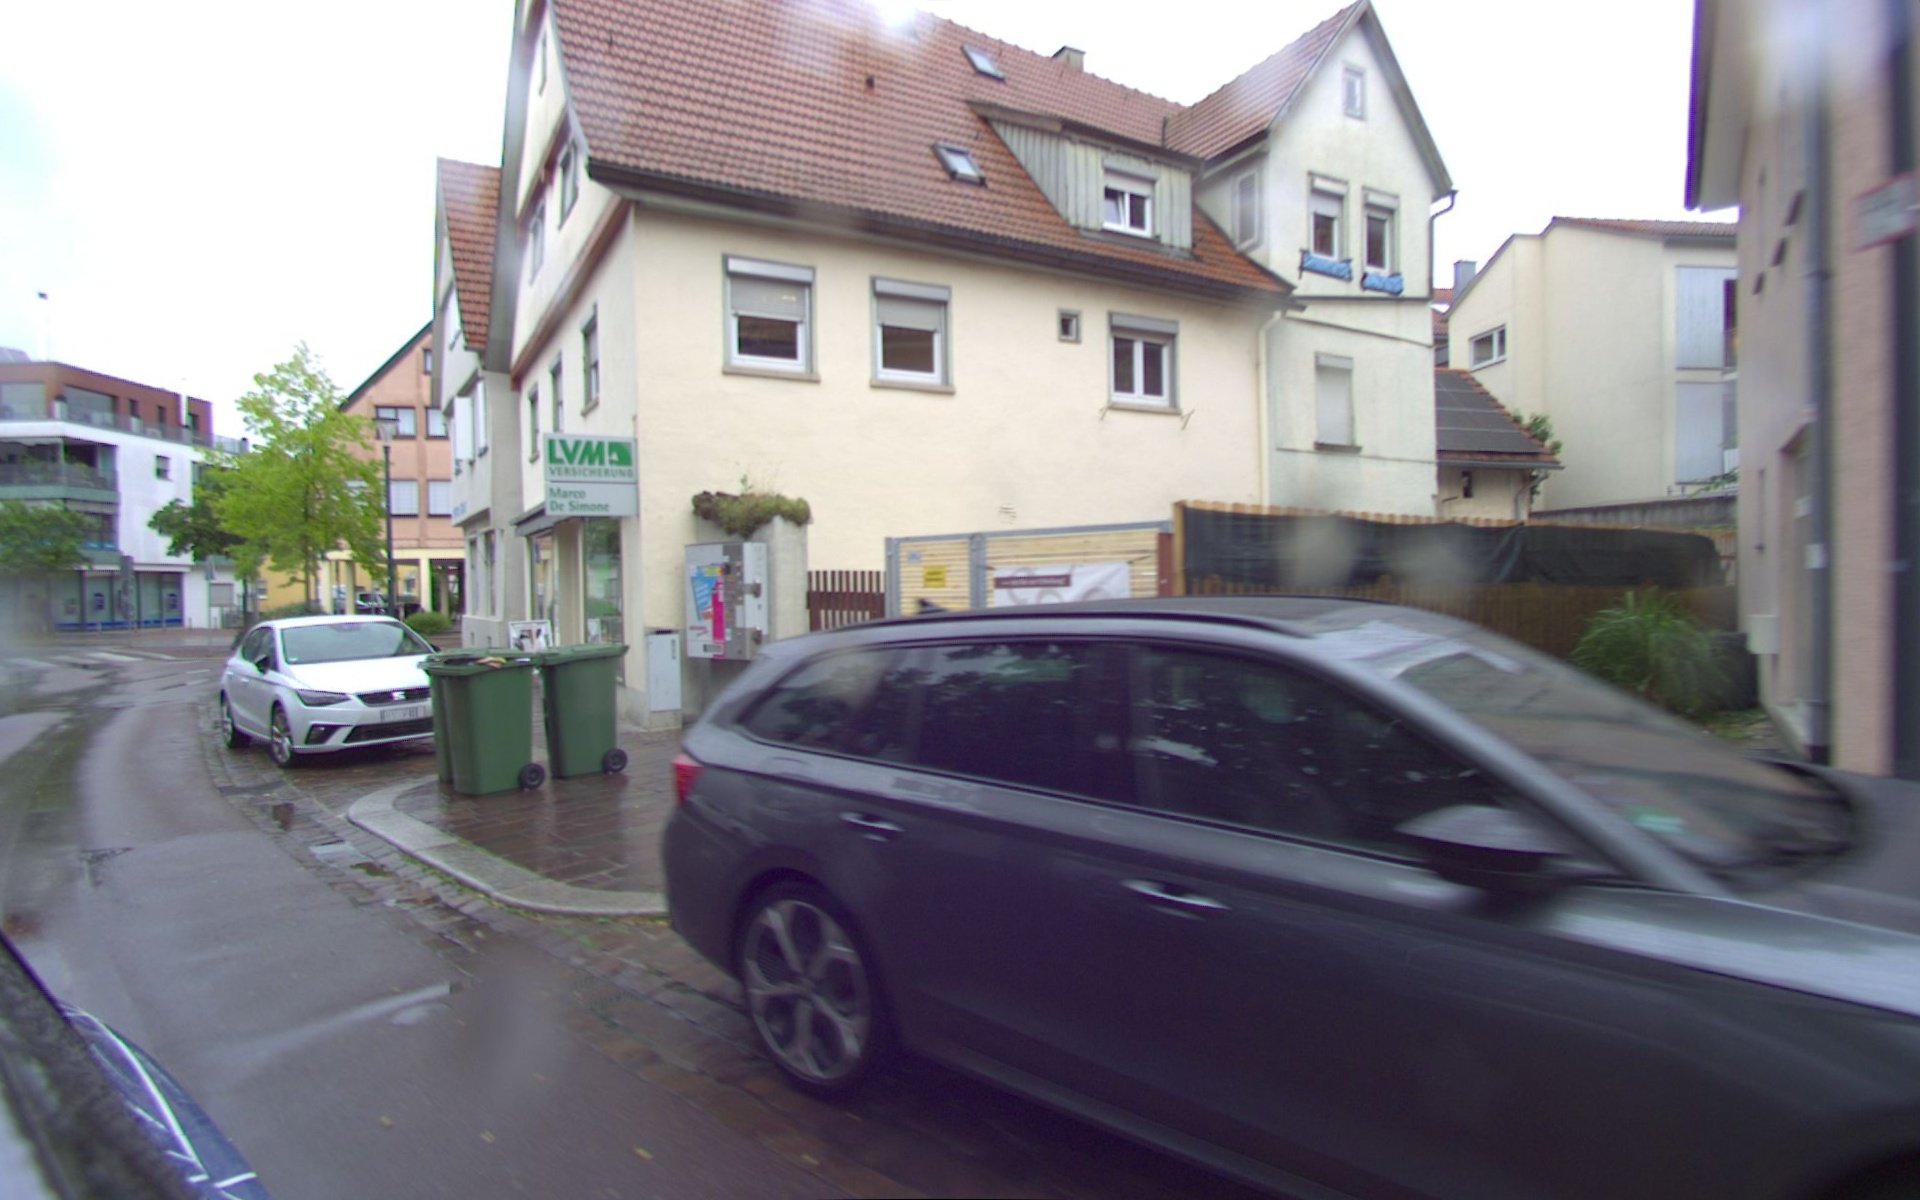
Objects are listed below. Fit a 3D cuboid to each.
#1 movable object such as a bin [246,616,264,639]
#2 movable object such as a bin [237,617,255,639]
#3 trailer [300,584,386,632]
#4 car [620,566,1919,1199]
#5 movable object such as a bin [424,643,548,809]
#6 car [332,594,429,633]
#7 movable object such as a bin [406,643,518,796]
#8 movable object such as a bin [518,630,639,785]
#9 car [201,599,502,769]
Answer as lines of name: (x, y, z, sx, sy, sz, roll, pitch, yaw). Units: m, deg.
movable object such as a bin: (-40.396, 1.574, 58.008, 0.623, 1.242, 0.524, 0, 2, 0)
movable object such as a bin: (-40.345, 1.576, 57.201, 0.623, 1.242, 0.524, 0, 2, 0)
trailer: (-30.047, 0.375, 49.355, 3.043, 2.103, 1.840, -4, 0, -11)
car: (1.132, 0.696, 2.794, 4.395, 1.552, 1.857, 1, 2, 39)
movable object such as a bin: (-3.660, 0.931, 7.801, 0.691, 1.152, 0.720, -2, 0, -39)
car: (-29.970, 0.690, 52.453, 3.935, 1.684, 1.840, -4, 0, -11)
movable object such as a bin: (-4.146, 0.960, 8.419, 0.673, 1.144, 0.720, -2, 1, -38)
movable object such as a bin: (-3.172, 0.859, 8.406, 0.691, 1.130, 0.720, -5, 4, -39)
car: (-6.798, 0.808, 11.122, 4.074, 1.463, 1.828, -2, 0, 44)
